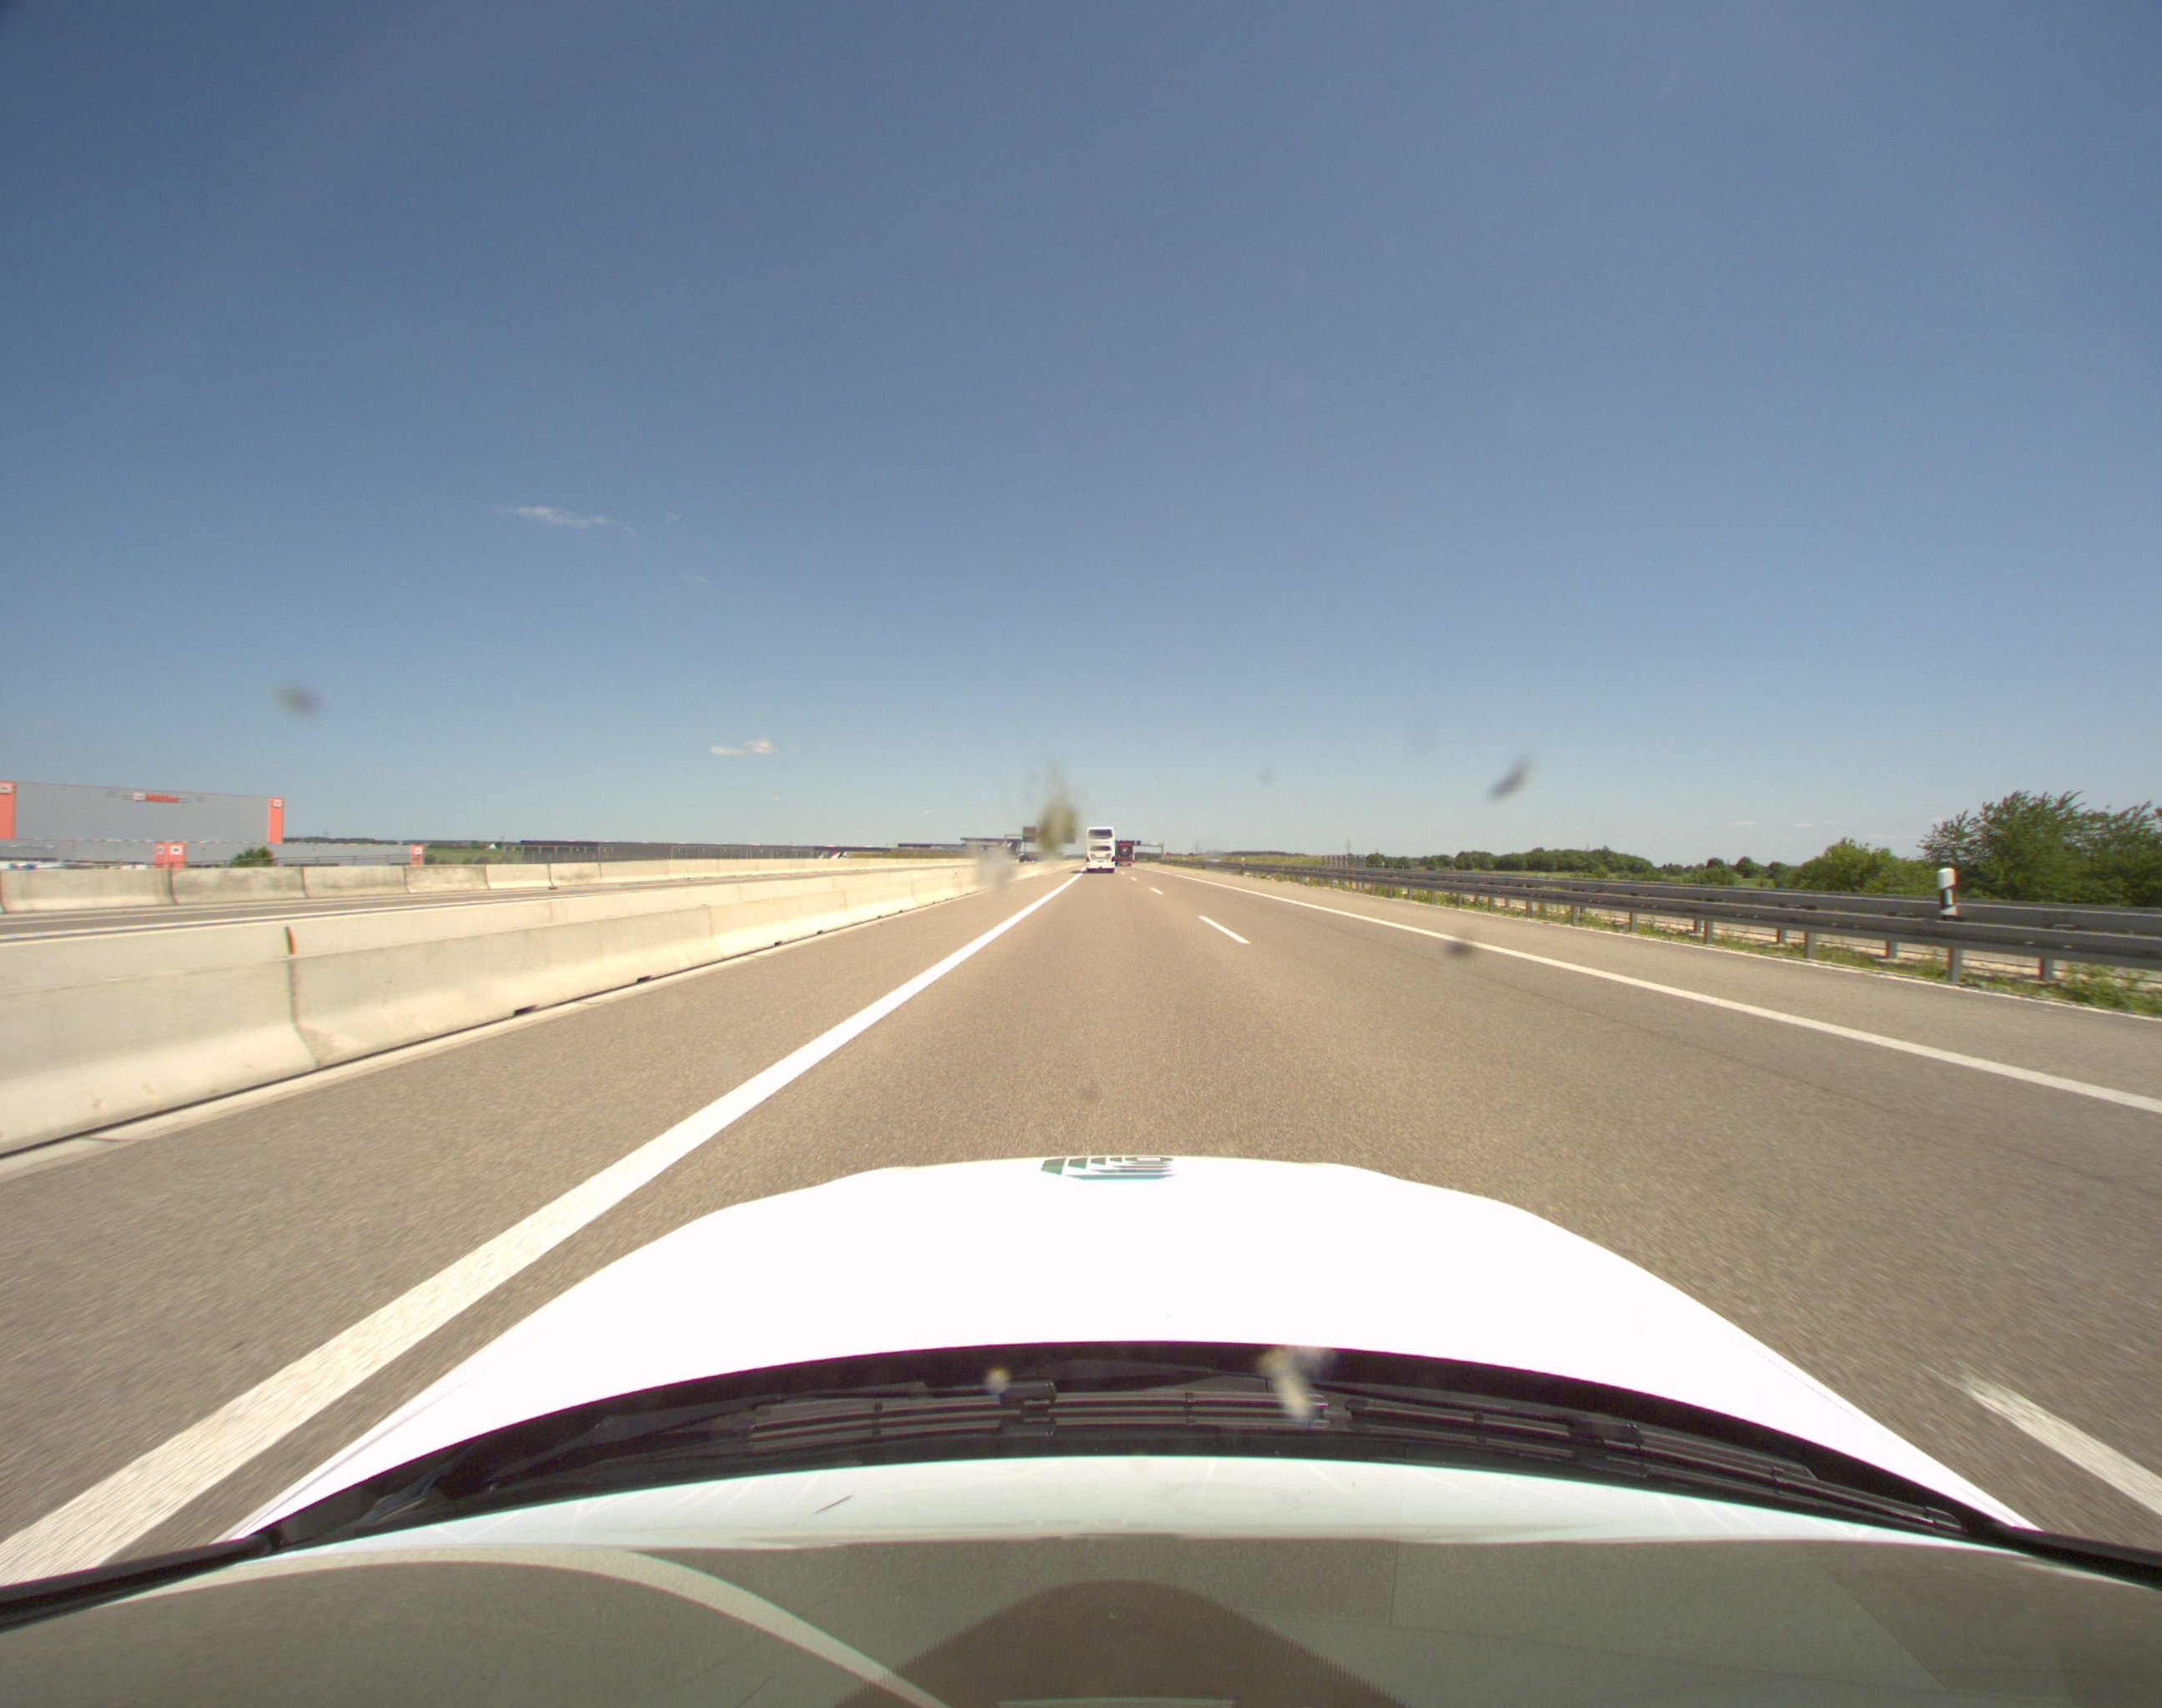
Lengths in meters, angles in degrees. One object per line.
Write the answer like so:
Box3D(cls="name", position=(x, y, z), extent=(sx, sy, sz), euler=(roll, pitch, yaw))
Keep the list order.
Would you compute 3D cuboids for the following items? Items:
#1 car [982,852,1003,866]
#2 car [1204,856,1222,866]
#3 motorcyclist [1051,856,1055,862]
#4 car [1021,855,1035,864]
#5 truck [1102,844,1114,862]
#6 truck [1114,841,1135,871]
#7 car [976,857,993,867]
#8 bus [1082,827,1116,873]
Box3D(cls="car", position=(-10.979, 0.581, 101.174), extent=(1.877, 1.686, 5.019), euler=(0, 0, 3))
Box3D(cls="car", position=(19.347, 1.009, 119.575), extent=(1.887, 1.529, 4.257), euler=(0, 0, -3))
Box3D(cls="motorcyclist", position=(-7.423, 1.265, 214.211), extent=(0.916, 1.621, 1.088), euler=(0, -1, 2))
Box3D(cls="car", position=(-9.649, 1.027, 147.797), extent=(1.986, 1.669, 4.652), euler=(0, 0, 2))
Box3D(cls="truck", position=(5.655, -0.199, 170.253), extent=(2.429, 3.789, 6.494), euler=(0, 0, 1))
Box3D(cls="truck", position=(7.350, 0.517, 136.430), extent=(3.365, 4.464, 13.577), euler=(0, -2, 4))
Box3D(cls="car", position=(-14.389, 1.221, 121.530), extent=(1.903, 1.459, 4.284), euler=(0, 0, 1))
Box3D(cls="bus", position=(1.604, -0.335, 74.867), extent=(2.970, 3.975, 9.105), euler=(0, 0, 1))
